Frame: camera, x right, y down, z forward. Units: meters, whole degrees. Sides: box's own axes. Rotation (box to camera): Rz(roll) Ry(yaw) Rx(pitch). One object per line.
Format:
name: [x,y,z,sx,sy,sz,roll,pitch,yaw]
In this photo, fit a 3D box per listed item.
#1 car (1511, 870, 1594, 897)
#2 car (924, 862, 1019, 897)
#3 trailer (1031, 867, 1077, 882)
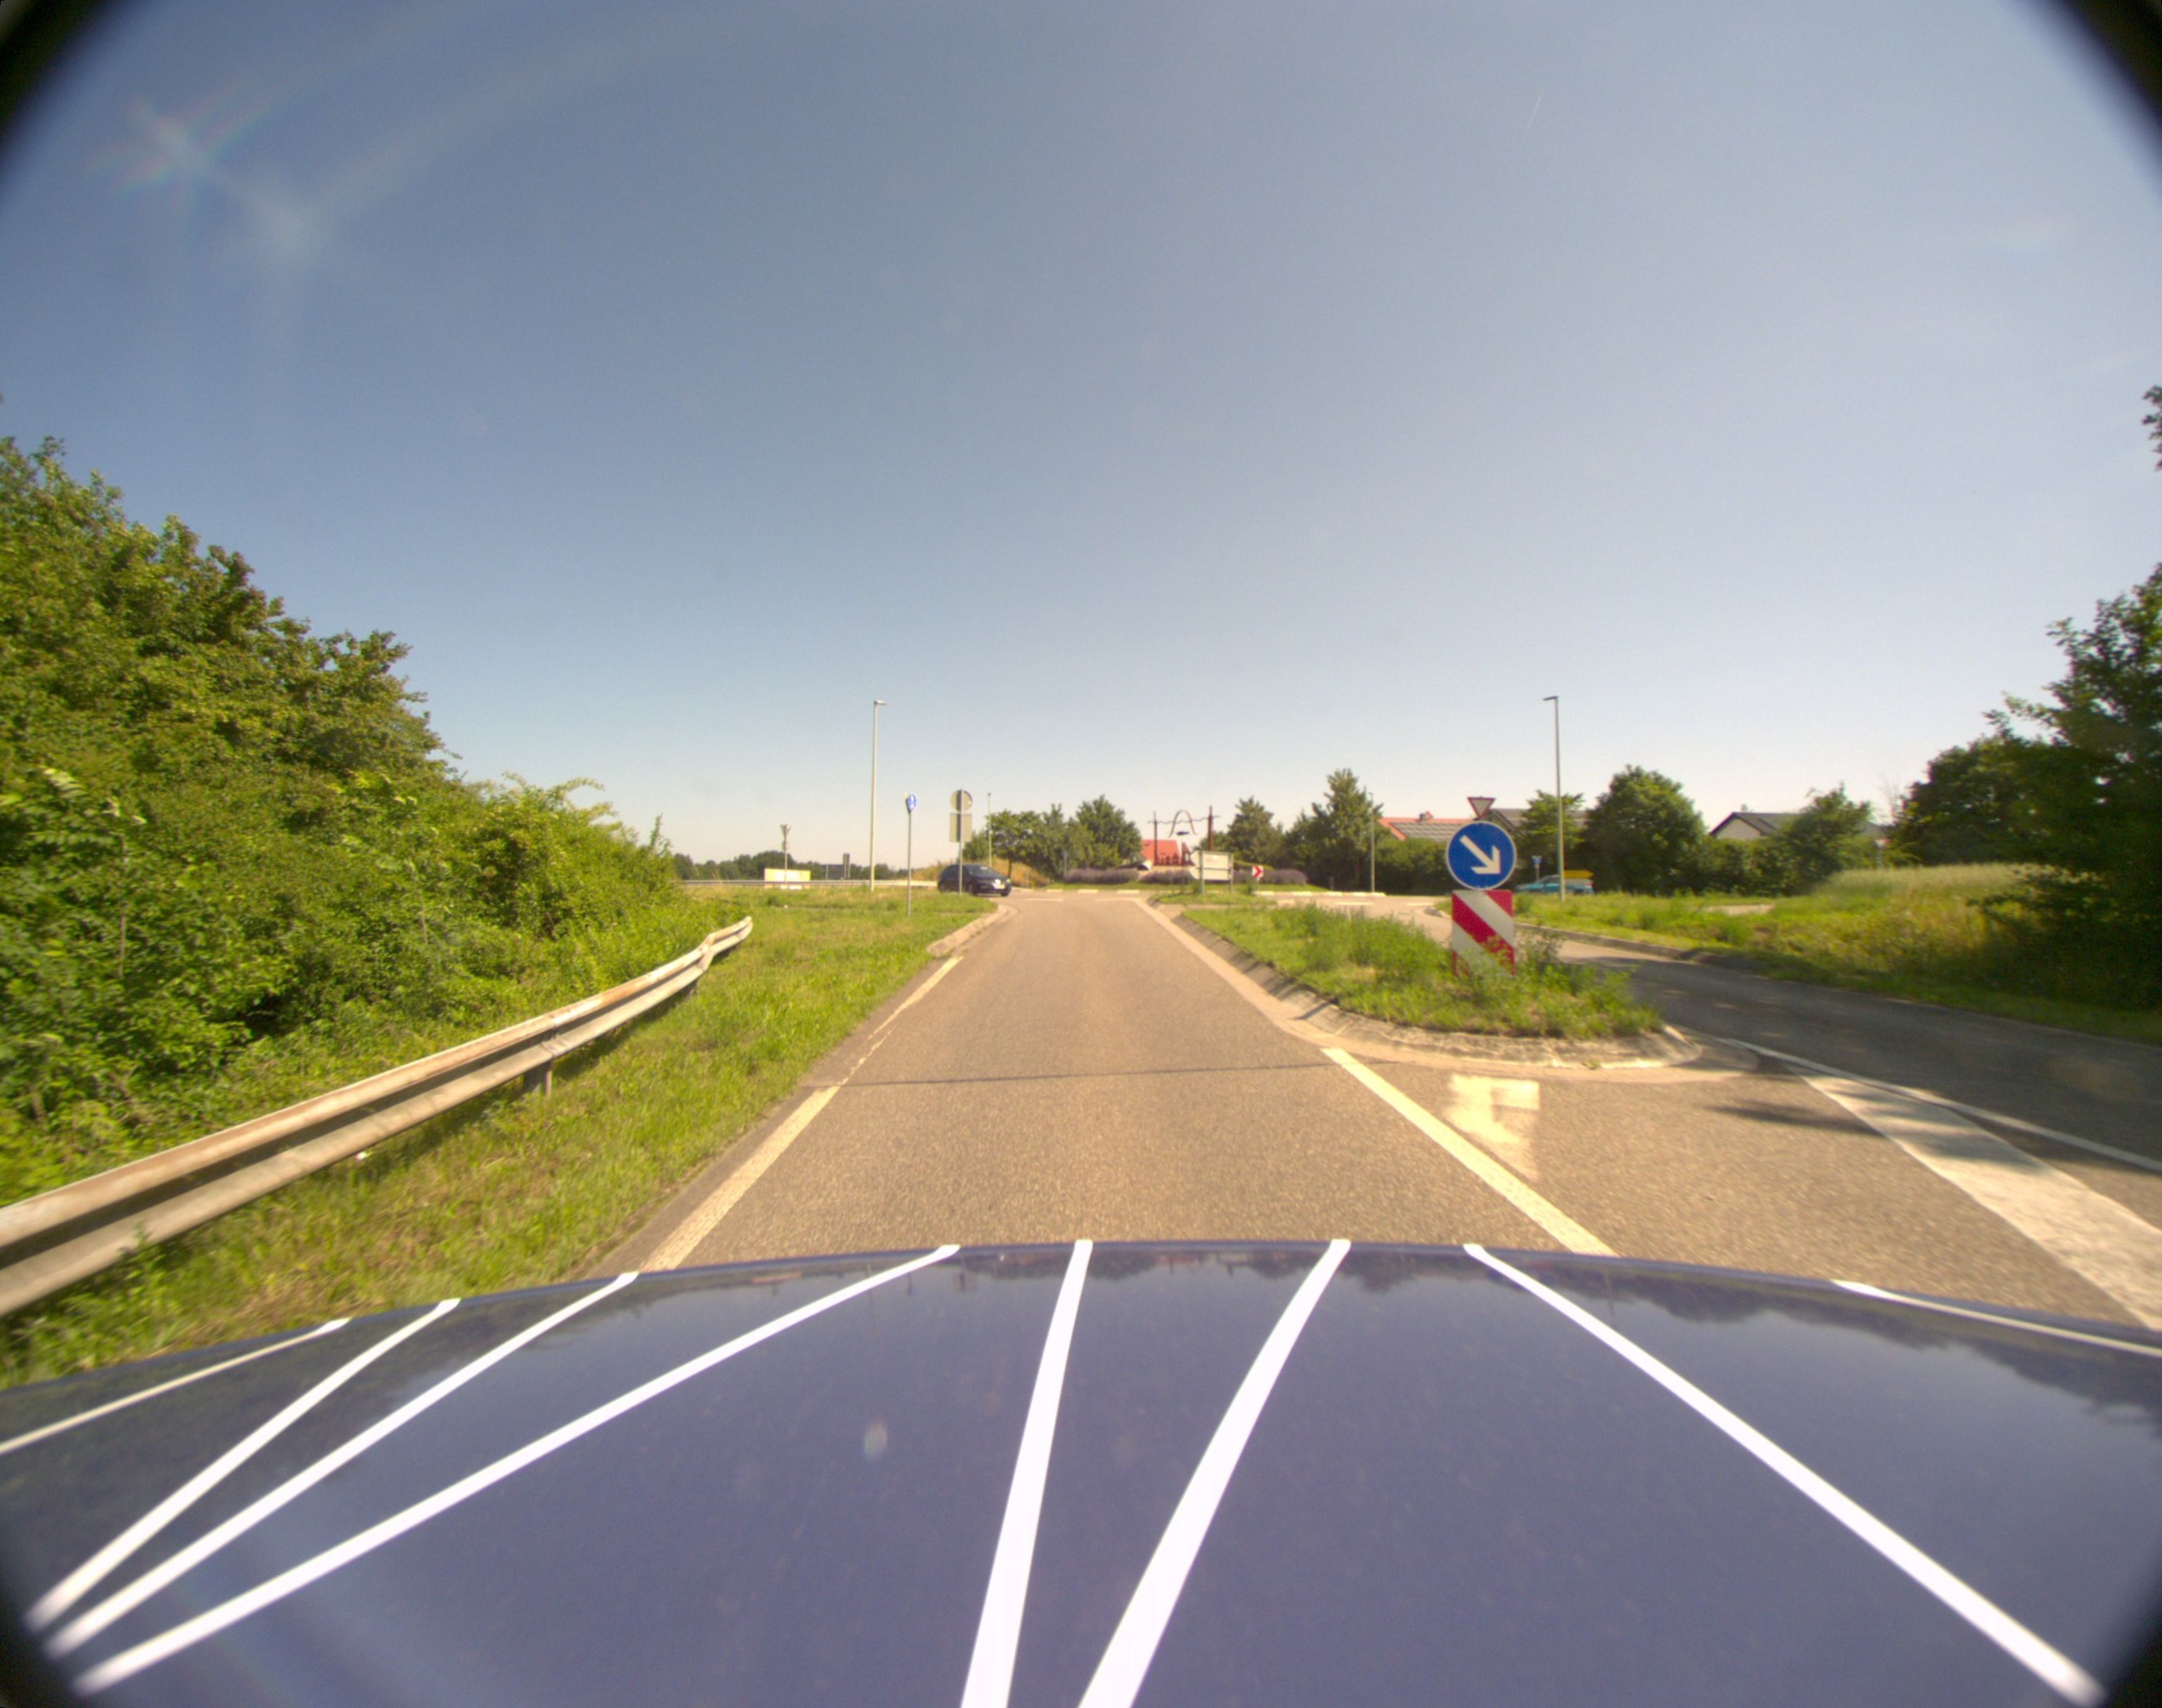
car: [28.857,1.800,46.643,3.993,1.566,1.651,1,-1,11]
car: [-4.837,1.083,33.202,4.168,1.389,1.812,0,-2,41]
trailer: [-4.345,3.205,119.260,2.004,2.264,10.466,1,-1,-33]
